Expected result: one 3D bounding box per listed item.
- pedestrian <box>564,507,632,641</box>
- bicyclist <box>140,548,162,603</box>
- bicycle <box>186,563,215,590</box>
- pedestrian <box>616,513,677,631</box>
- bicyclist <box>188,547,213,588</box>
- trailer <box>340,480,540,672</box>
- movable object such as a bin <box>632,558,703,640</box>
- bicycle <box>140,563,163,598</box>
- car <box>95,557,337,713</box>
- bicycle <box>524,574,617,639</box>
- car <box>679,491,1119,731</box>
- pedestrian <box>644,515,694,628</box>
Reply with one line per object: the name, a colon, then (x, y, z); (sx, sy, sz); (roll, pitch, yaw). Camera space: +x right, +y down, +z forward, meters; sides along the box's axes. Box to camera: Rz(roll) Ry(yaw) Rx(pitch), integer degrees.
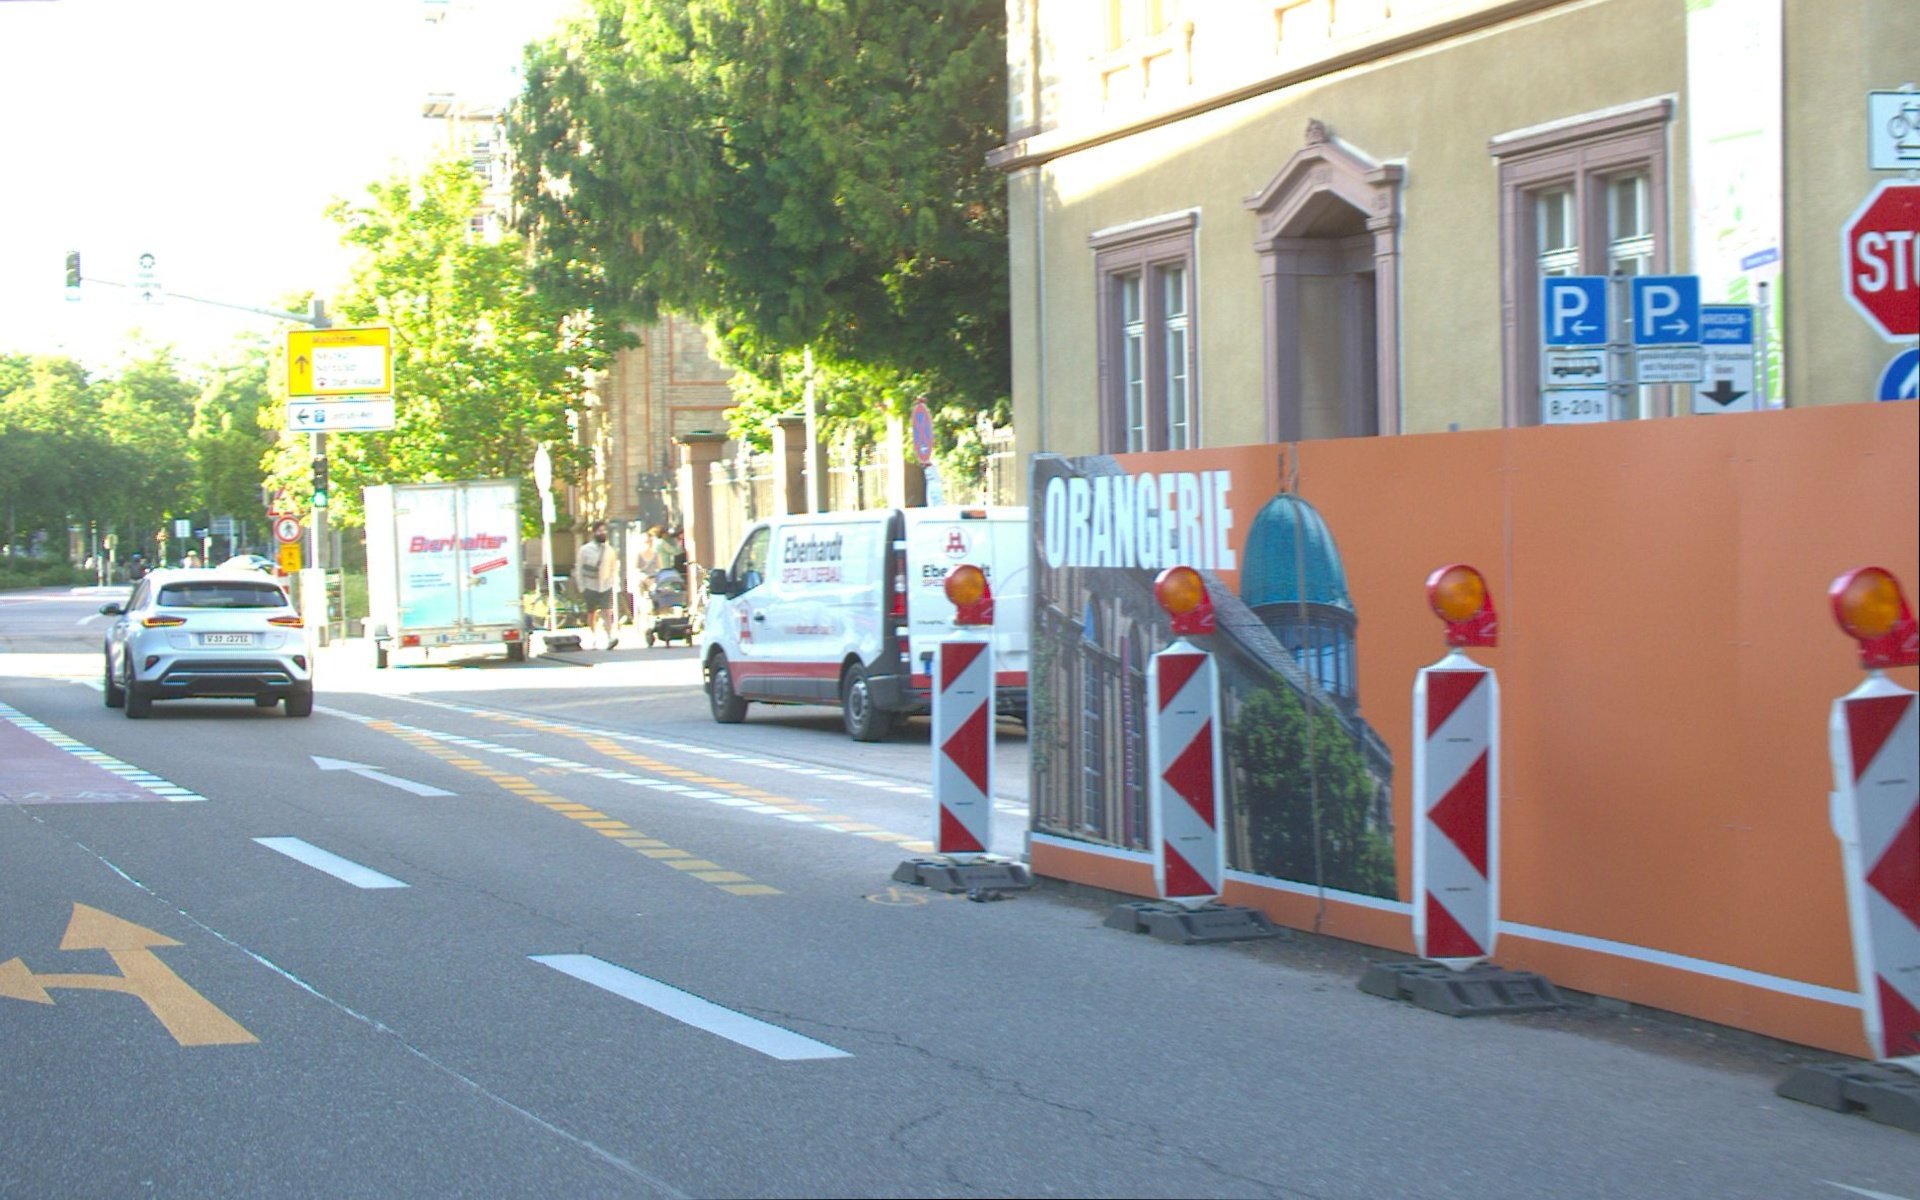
pedestrian: (-5.229, -0.381, 49.658); (0.715, 1.888, 0.890); (-2, 2, -21)
bicyclist: (-24.117, -0.738, 102.504); (0.636, 1.609, 1.284); (0, 1, -13)
bicycle: (-28.954, -0.899, 131.110); (0.753, 1.022, 1.869); (0, 0, -2)
pedestrian: (-4.575, -0.412, 50.191); (0.682, 1.695, 0.694); (-2, 2, -19)
bicyclist: (-28.954, -1.242, 131.120); (0.747, 1.532, 0.969); (0, 1, -2)
trailer: (-7.501, -0.375, 49.219); (2.079, 2.519, 4.493); (-3, 2, -17)
movable object such as a bin: (-4.197, -0.021, 49.340); (0.711, 1.113, 1.051); (-4, 2, -20)
bicycle: (-24.064, -0.594, 102.302); (0.643, 1.021, 2.213); (0, 1, -13)
car: (-7.723, 0.324, 35.410); (1.993, 1.448, 4.001); (-2, 1, -18)
bicycle: (-6.589, 0.112, 58.175); (1.465, 1.035, 0.479); (-2, 1, -18)
car: (-0.680, 0.078, 30.657); (2.014, 1.939, 5.483); (0, 0, -23)
pedestrian: (-4.600, -0.460, 54.320); (0.639, 1.762, 0.738); (-2, 1, -15)
